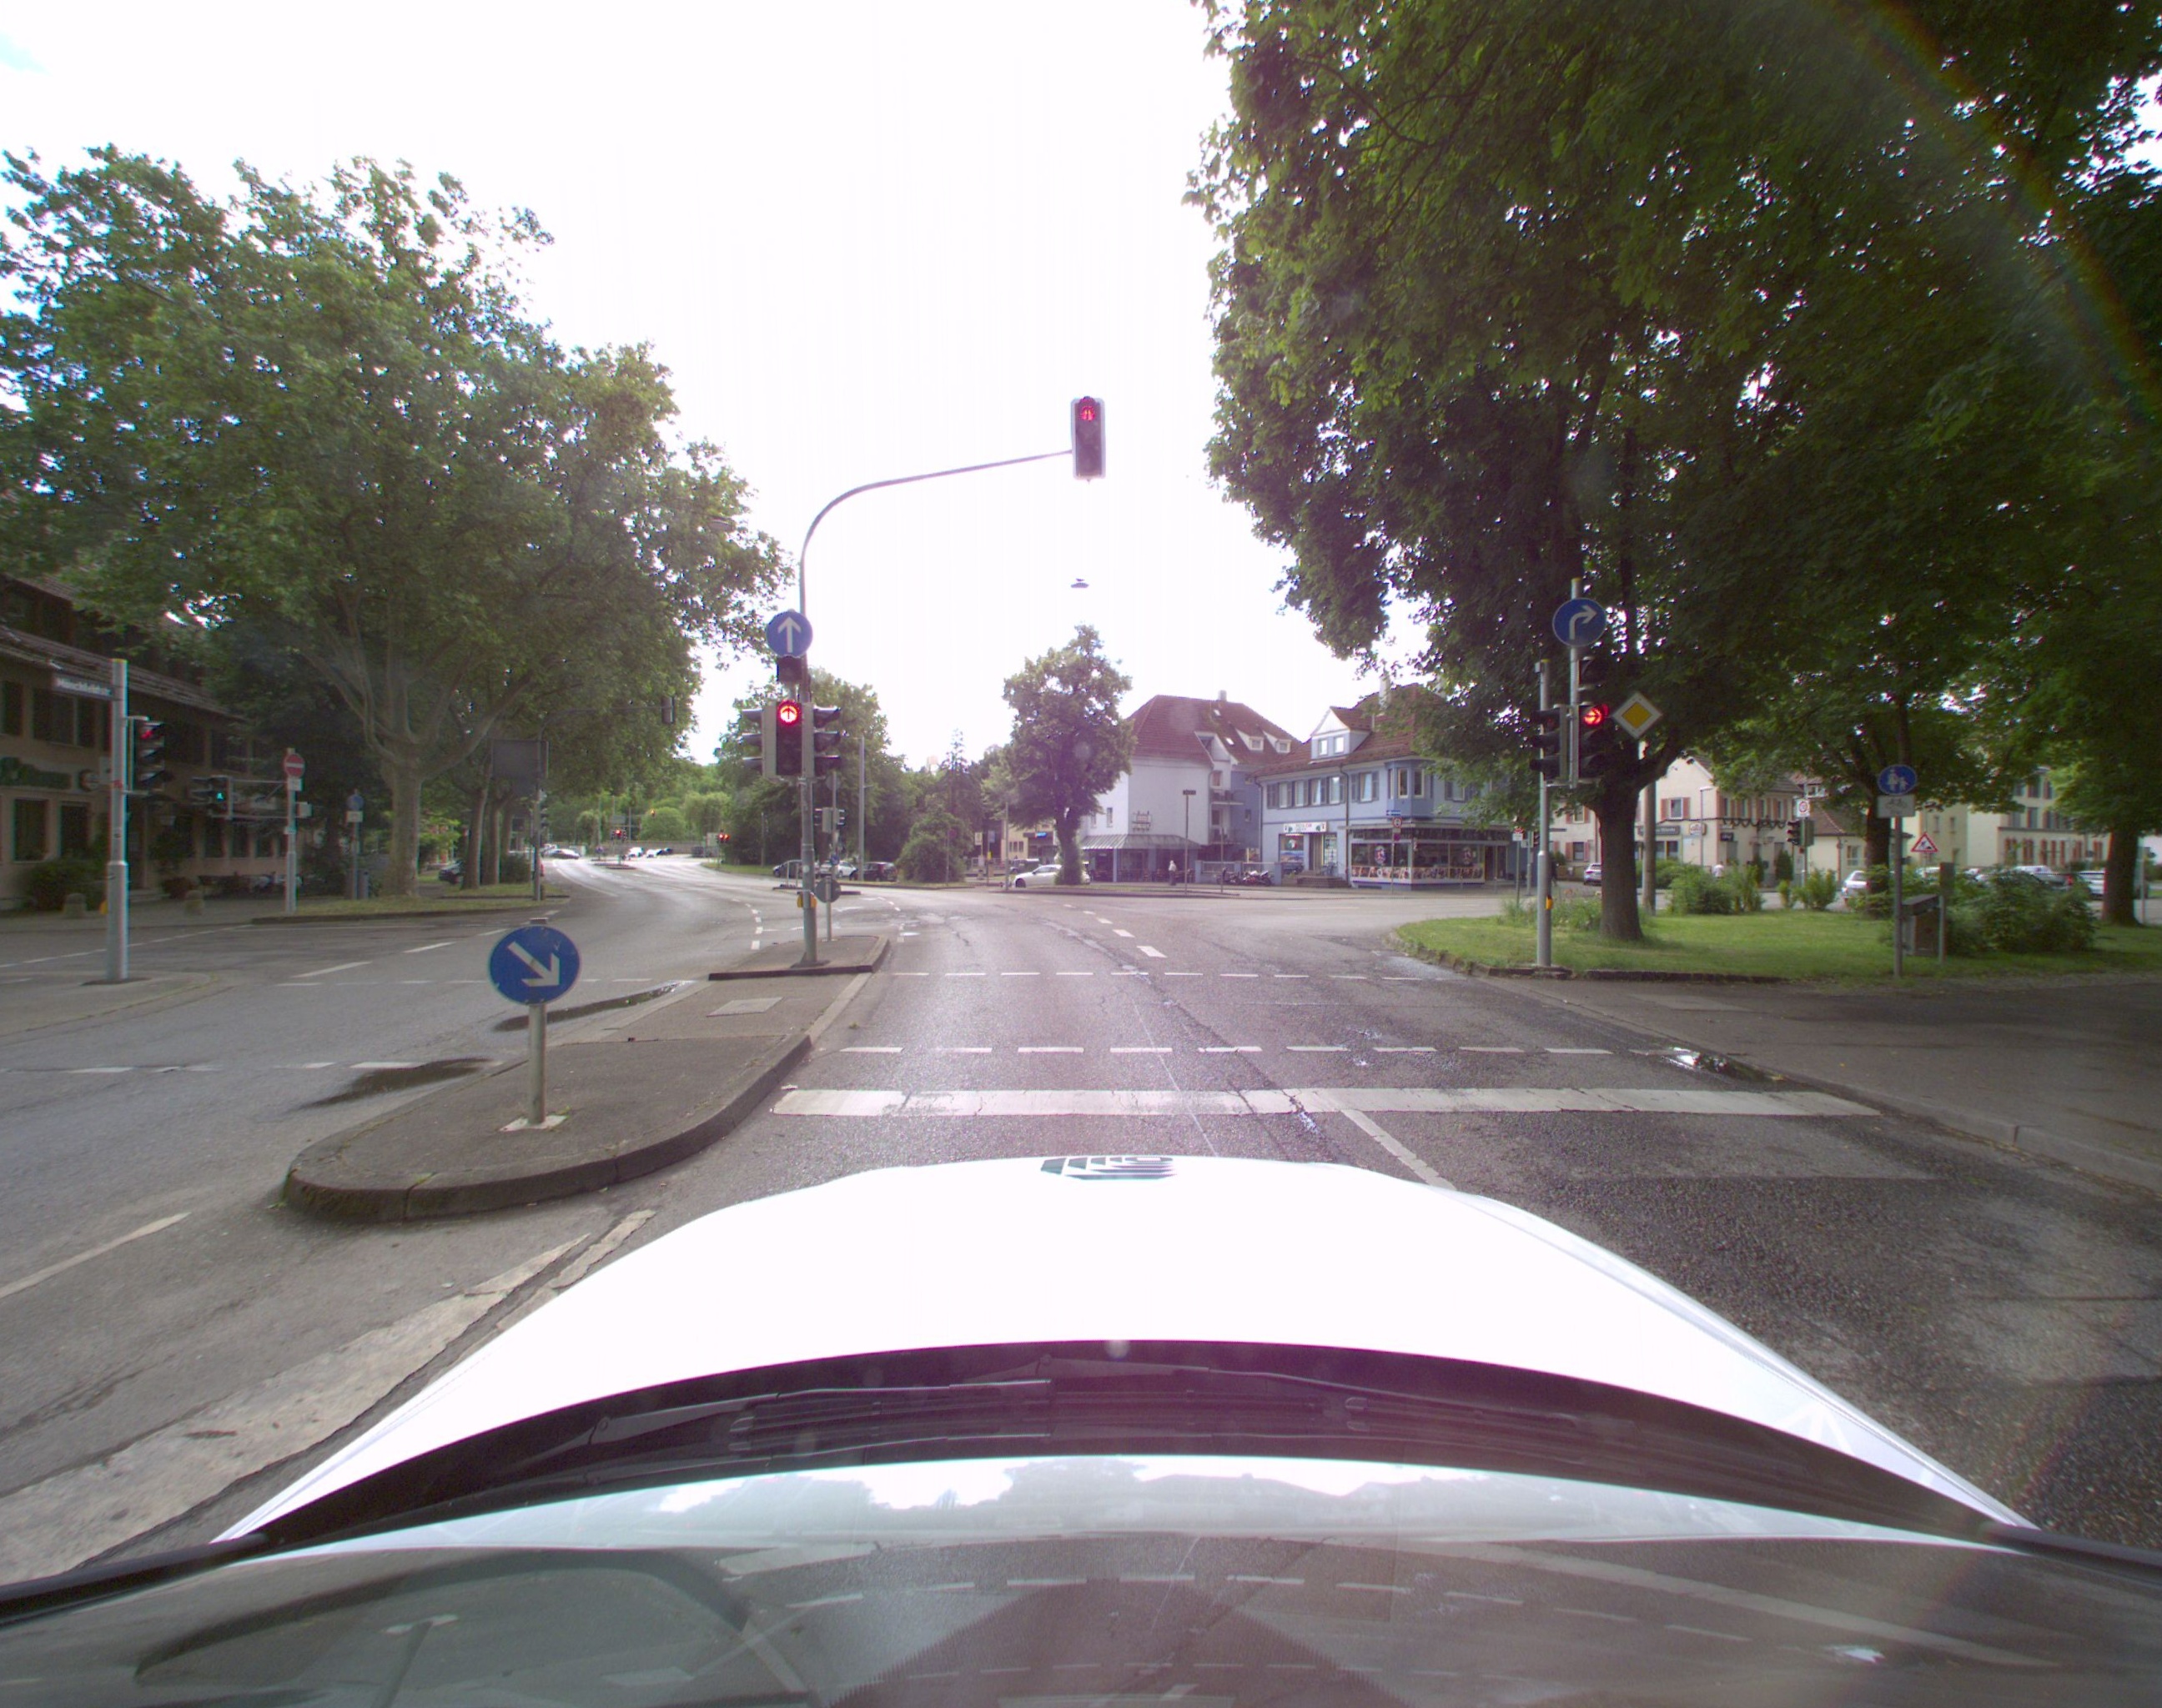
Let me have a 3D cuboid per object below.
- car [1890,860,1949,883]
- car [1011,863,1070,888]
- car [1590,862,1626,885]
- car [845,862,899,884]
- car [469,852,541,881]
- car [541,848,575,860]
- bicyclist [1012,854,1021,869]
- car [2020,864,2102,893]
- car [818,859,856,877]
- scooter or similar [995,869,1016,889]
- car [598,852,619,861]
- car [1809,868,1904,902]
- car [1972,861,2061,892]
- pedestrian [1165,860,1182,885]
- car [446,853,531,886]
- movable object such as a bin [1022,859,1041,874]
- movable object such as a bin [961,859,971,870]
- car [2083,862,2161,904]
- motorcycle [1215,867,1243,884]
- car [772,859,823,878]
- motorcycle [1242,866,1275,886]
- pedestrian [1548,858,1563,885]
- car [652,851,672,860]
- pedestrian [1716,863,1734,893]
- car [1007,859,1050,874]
[{"bbox_3d":[55.113,1.126,53.528,4.007,1.420,1.544,0,0,-26],"label":"car"},{"bbox_3d":[-2.311,1.199,46.237,3.134,1.354,1.448,0,-1,36],"label":"car"},{"bbox_3d":[32.600,1.183,50.339,1.481,1.369,3.198,-1,-1,40],"label":"car"},{"bbox_3d":[-13.910,1.262,54.204,3.549,1.394,1.481,0,-1,34],"label":"car"},{"bbox_3d":[-35.487,0.752,50.281,3.461,1.742,1.557,0,-1,-31],"label":"car"},{"bbox_3d":[-79.620,0.067,124.055,4.001,1.783,1.986,0,0,-21],"label":"car"},{"bbox_3d":[-6.709,0.794,84.514,0.603,1.541,0.731,0,-1,-40],"label":"bicyclist"},{"bbox_3d":[47.000,1.167,39.057,3.511,1.321,1.549,0,0,-22],"label":"car"},{"bbox_3d":[-20.083,1.125,67.185,1.534,1.464,3.407,0,0,13],"label":"car"},{"bbox_3d":[-3.980,1.288,42.880,0.413,1.011,1.575,-1,-1,22],"label":"scooter or similar"},{"bbox_3d":[-106.180,0.471,183.025,4.011,2.014,1.981,0,-1,-29],"label":"car"},{"bbox_3d":[31.960,1.252,33.567,3.511,1.321,1.549,0,0,-22],"label":"car"},{"bbox_3d":[42.213,0.976,36.750,3.510,1.321,1.549,0,0,-21],"label":"car"},{"bbox_3d":[5.759,1.131,50.804,0.759,1.545,0.682,-1,-1,41],"label":"pedestrian"},{"bbox_3d":[-31.004,0.780,42.716,3.461,1.641,1.557,0,-1,-31],"label":"car"},{"bbox_3d":[-4.526,1.128,74.247,1.447,1.409,0.959,0,-1,-25],"label":"movable object such as a bin"},{"bbox_3d":[-12.224,1.112,86.638,0.953,1.115,0.381,0,-1,-19],"label":"movable object such as a bin"},{"bbox_3d":[52.828,1.435,41.124,4.004,2.014,1.770,0,-1,-23],"label":"car"},{"bbox_3d":[9.111,1.311,50.076,0.699,1.064,1.617,0,-1,-44],"label":"motorcycle"},{"bbox_3d":[-22.441,1.109,64.483,3.520,1.464,1.591,0,0,14],"label":"car"},{"bbox_3d":[10.532,1.285,48.262,1.777,1.121,0.699,0,-1,40],"label":"motorcycle"},{"bbox_3d":[27.225,0.991,46.746,0.459,1.517,0.584,0,-1,-18],"label":"pedestrian"},{"bbox_3d":[-95.501,0.414,185.601,4.011,2.014,1.981,0,-1,-29],"label":"car"},{"bbox_3d":[36.188,1.359,45.744,0.611,1.649,0.606,0,-1,-27],"label":"pedestrian"},{"bbox_3d":[-4.884,1.129,76.154,3.752,1.345,1.422,0,0,-25],"label":"car"}]
